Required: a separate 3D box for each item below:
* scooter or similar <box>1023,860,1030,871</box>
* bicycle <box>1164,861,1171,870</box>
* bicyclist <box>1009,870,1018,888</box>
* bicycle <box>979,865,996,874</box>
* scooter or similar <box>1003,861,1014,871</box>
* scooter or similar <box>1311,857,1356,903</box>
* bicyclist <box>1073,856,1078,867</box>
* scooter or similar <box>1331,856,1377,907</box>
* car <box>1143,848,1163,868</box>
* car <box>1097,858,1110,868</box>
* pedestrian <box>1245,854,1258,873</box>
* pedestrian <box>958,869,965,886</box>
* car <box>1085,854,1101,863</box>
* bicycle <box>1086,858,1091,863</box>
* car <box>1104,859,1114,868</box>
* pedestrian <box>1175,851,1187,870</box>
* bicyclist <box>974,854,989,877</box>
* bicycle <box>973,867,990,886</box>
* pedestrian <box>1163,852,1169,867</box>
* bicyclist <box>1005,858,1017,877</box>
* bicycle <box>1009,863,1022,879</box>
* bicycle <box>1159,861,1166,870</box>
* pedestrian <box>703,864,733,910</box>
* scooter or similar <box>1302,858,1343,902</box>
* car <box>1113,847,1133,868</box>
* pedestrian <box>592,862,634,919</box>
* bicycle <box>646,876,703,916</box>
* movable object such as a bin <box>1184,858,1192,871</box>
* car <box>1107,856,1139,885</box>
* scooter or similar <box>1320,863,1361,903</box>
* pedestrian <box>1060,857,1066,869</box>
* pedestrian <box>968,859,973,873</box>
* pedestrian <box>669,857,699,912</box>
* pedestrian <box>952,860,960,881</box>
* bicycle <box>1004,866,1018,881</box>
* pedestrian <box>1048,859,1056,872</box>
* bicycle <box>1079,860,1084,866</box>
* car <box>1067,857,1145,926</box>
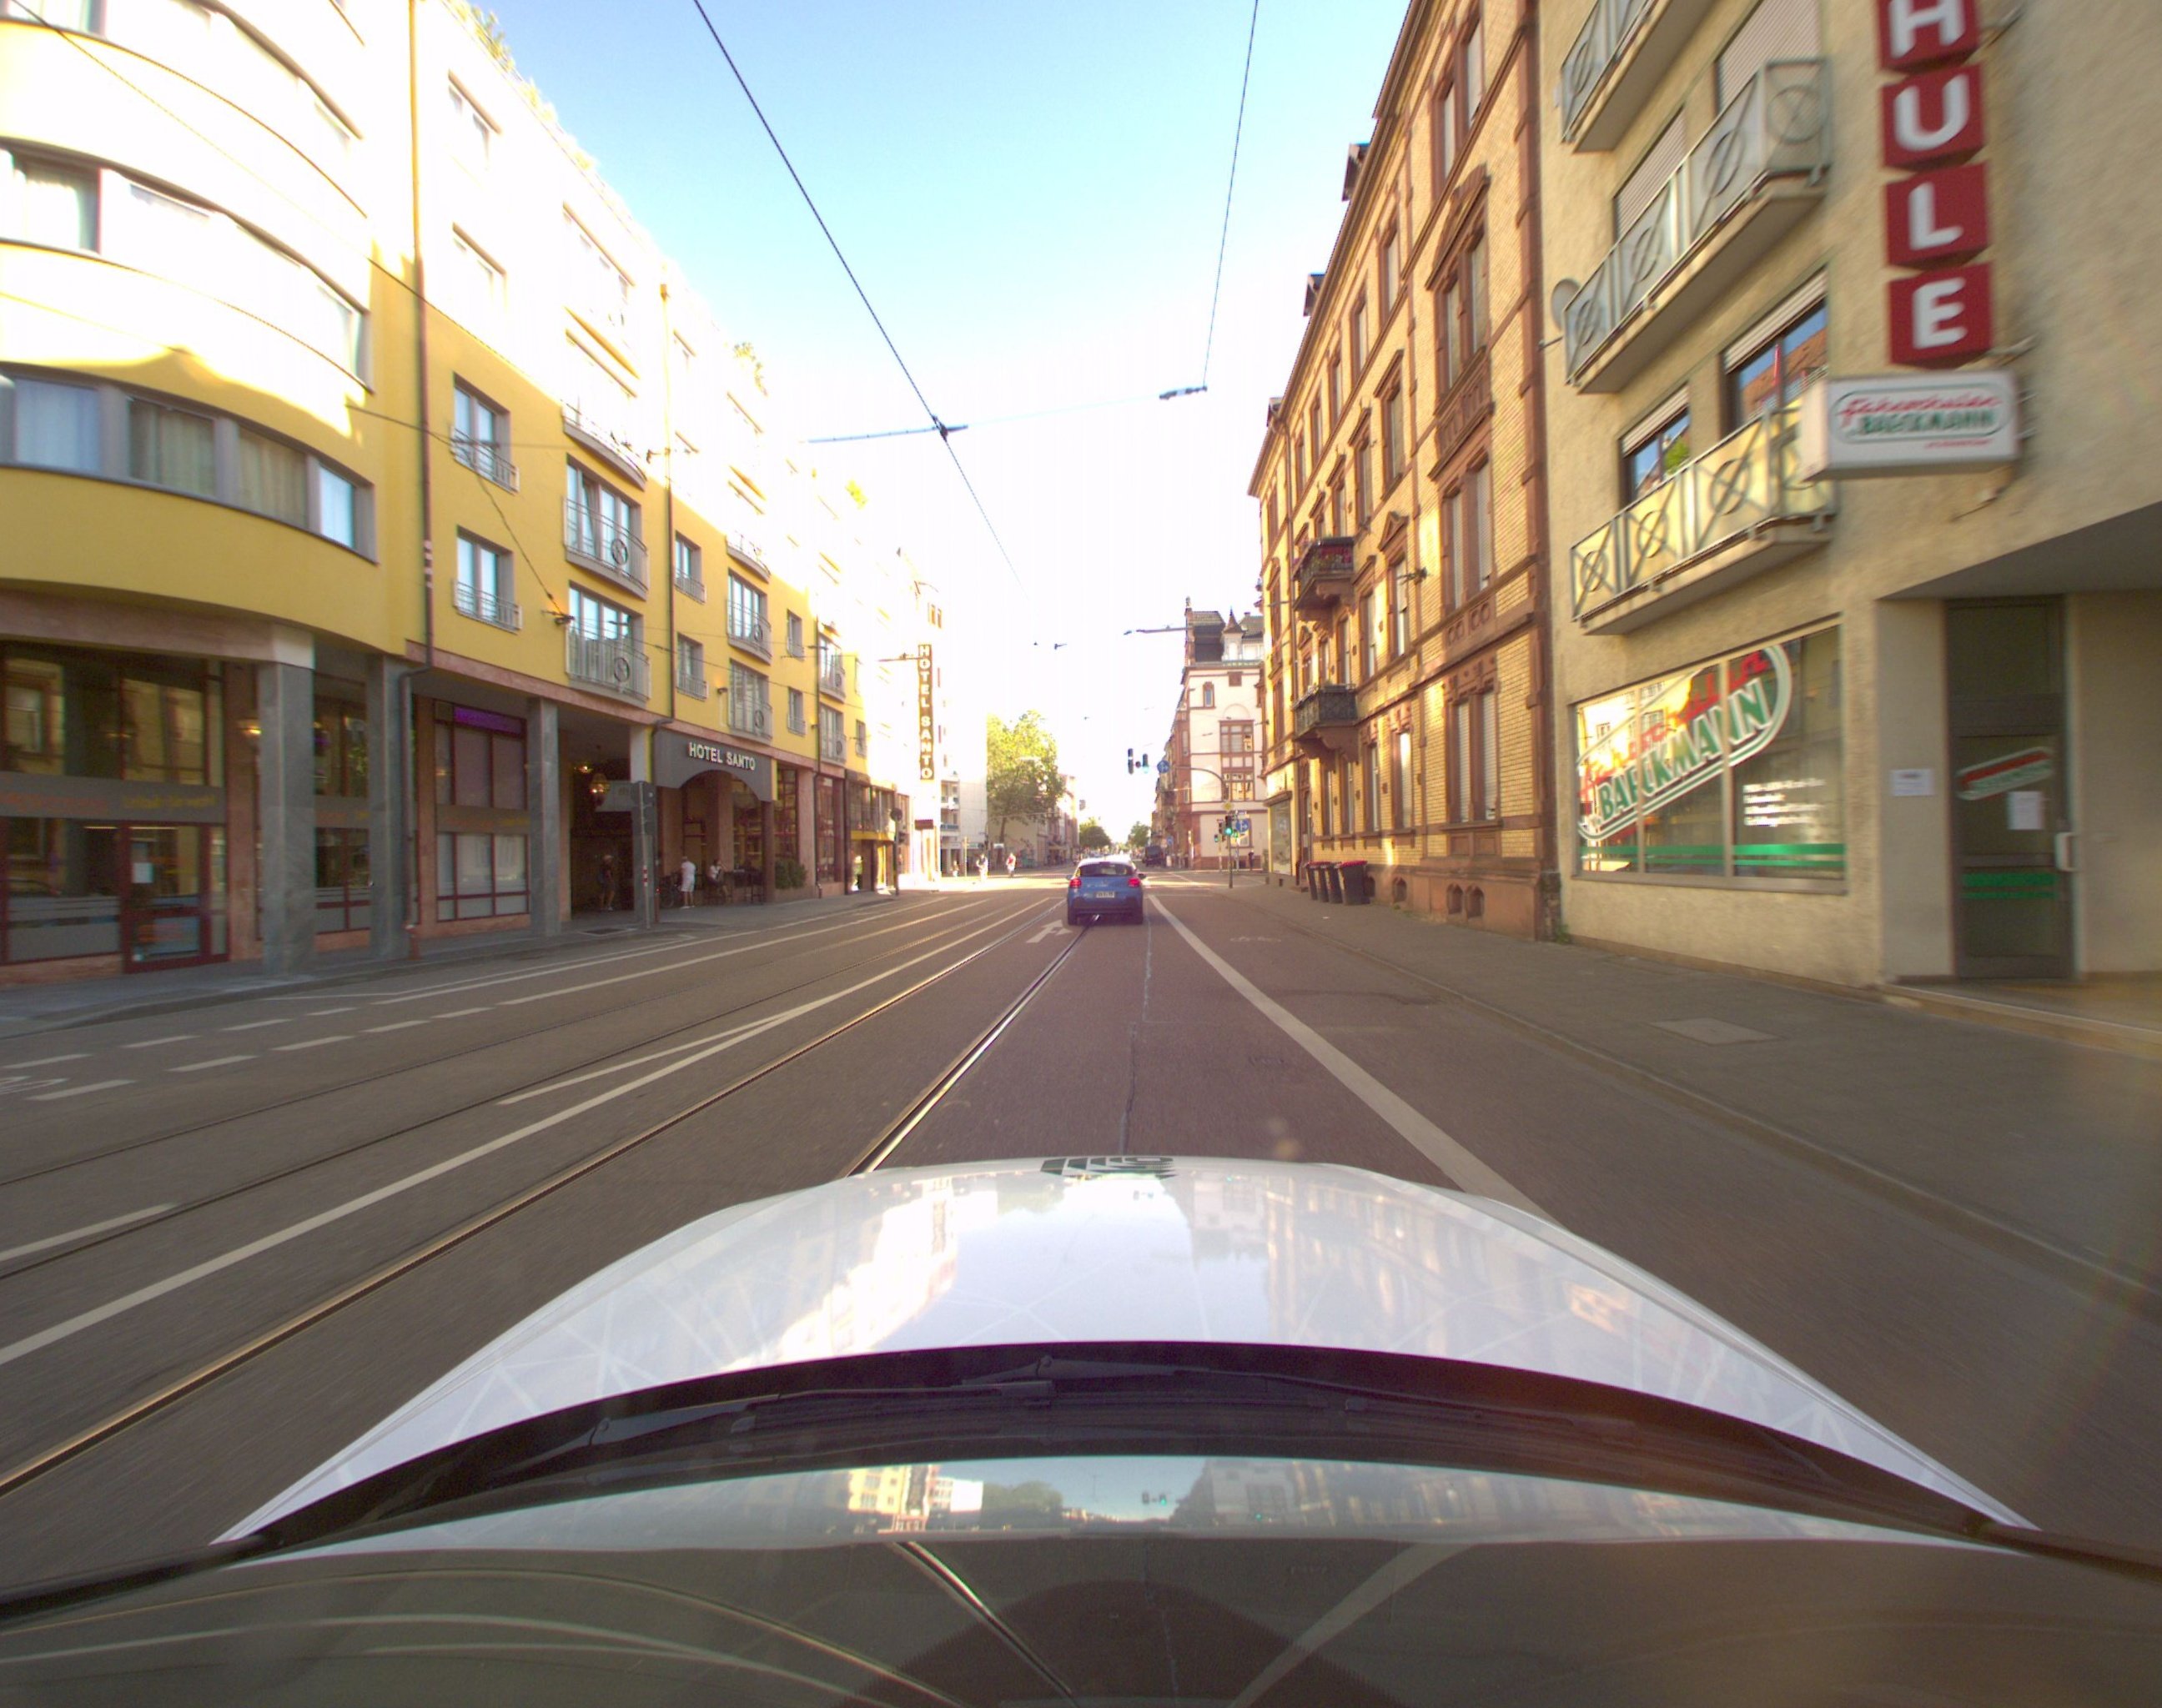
[{"bbox_3d":[-6.921,1.460,103.618,0.785,1.272,1.075,-1,0,2],"label":"scooter or similar"},{"bbox_3d":[8.780,1.142,82.683,0.430,0.947,1.761,-1,0,-4],"label":"bicycle"},{"bbox_3d":[-5.226,1.947,63.363,0.587,1.376,0.679,-1,-1,1],"label":"bicyclist"},{"bbox_3d":[-11.058,1.808,96.141,1.898,1.034,0.669,-1,-1,29],"label":"bicycle"},{"bbox_3d":[-9.113,1.502,102.149,1.228,1.258,0.765,-1,-1,-9],"label":"scooter or similar"},{"bbox_3d":[6.785,0.693,21.897,0.930,1.148,0.650,-5,-1,1],"label":"scooter or similar"},{"bbox_3d":[-0.759,1.061,115.992,0.680,1.483,0.779,-1,0,2],"label":"bicyclist"},{"bbox_3d":[6.768,0.671,20.226,0.787,1.148,0.790,-5,-1,1],"label":"scooter or similar"},{"bbox_3d":[9.035,0.460,103.040,2.262,2.437,5.724,-1,0,3],"label":"car"},{"bbox_3d":[3.659,1.471,131.346,1.978,1.502,4.311,-1,0,2],"label":"car"},{"bbox_3d":[13.412,0.721,64.090,0.931,1.457,0.826,-1,0,15],"label":"pedestrian"},{"bbox_3d":[-10.660,2.103,72.559,0.540,1.552,0.516,-1,-1,1],"label":"pedestrian"},{"bbox_3d":[3.509,1.288,243.933,4.326,2.581,2.193,-1,0,-23],"label":"car"},{"bbox_3d":[1.731,1.520,195.032,1.118,1.146,3.641,-2,0,-2],"label":"bicycle"},{"bbox_3d":[5.920,1.925,170.334,1.986,1.744,4.565,-1,0,2],"label":"car"},{"bbox_3d":[9.701,0.646,78.986,0.703,1.781,0.673,-12,-1,1],"label":"pedestrian"},{"bbox_3d":[-5.985,0.703,49.111,0.721,1.381,1.228,-1,0,2],"label":"bicyclist"},{"bbox_3d":[-5.981,1.324,49.119,0.728,1.088,2.062,-1,0,2],"label":"bicycle"},{"bbox_3d":[11.380,0.719,109.055,0.583,2.014,0.823,-1,-1,2],"label":"pedestrian"},{"bbox_3d":[-5.162,1.015,60.215,0.732,1.381,1.469,-1,-1,2],"label":"bicyclist"},{"bbox_3d":[-5.117,1.302,63.394,0.728,1.183,2.062,-1,0,2],"label":"bicycle"},{"bbox_3d":[8.263,1.153,82.632,0.430,0.947,1.761,-1,0,-4],"label":"bicycle"},{"bbox_3d":[-12.442,1.137,27.922,0.701,1.547,0.602,-1,-1,7],"label":"pedestrian"},{"bbox_3d":[6.781,0.728,22.890,0.894,1.148,0.548,-6,-1,1],"label":"scooter or similar"},{"bbox_3d":[4.315,0.332,83.675,1.986,2.013,4.002,-2,0,2],"label":"car"},{"bbox_3d":[-14.890,1.143,25.929,0.703,1.770,0.958,-1,-1,8],"label":"pedestrian"},{"bbox_3d":[-13.388,1.371,26.872,0.578,1.203,2.085,-1,0,8],"label":"bicycle"},{"bbox_3d":[10.094,0.979,76.945,0.663,1.153,0.594,-1,-1,0],"label":"movable object such as a bin"},{"bbox_3d":[2.328,0.890,45.912,1.660,1.478,4.002,-2,0,2],"label":"car"},{"bbox_3d":[6.749,0.739,21.184,0.787,0.957,0.680,-5,-1,1],"label":"scooter or similar"},{"bbox_3d":[-2.683,1.403,122.157,0.707,1.764,0.571,-2,-1,2],"label":"pedestrian"},{"bbox_3d":[-13.887,1.548,102.539,0.454,1.718,0.547,-2,-1,2],"label":"pedestrian"},{"bbox_3d":[-12.864,0.983,26.407,0.558,1.770,0.724,0,-1,8],"label":"pedestrian"},{"bbox_3d":[-8.479,1.117,55.140,0.402,1.410,0.516,-1,-1,2],"label":"pedestrian"},{"bbox_3d":[-5.167,1.421,60.320,0.728,1.065,2.062,-1,0,2],"label":"bicycle"},{"bbox_3d":[-3.831,1.502,107.451,0.677,1.765,1.029,-1,-1,14],"label":"pedestrian"},{"bbox_3d":[0.148,2.108,195.284,1.118,1.319,3.641,-2,0,-2],"label":"bicycle"},{"bbox_3d":[0.602,0.822,19.618,1.667,1.477,4.001,-1,0,2],"label":"car"}]
